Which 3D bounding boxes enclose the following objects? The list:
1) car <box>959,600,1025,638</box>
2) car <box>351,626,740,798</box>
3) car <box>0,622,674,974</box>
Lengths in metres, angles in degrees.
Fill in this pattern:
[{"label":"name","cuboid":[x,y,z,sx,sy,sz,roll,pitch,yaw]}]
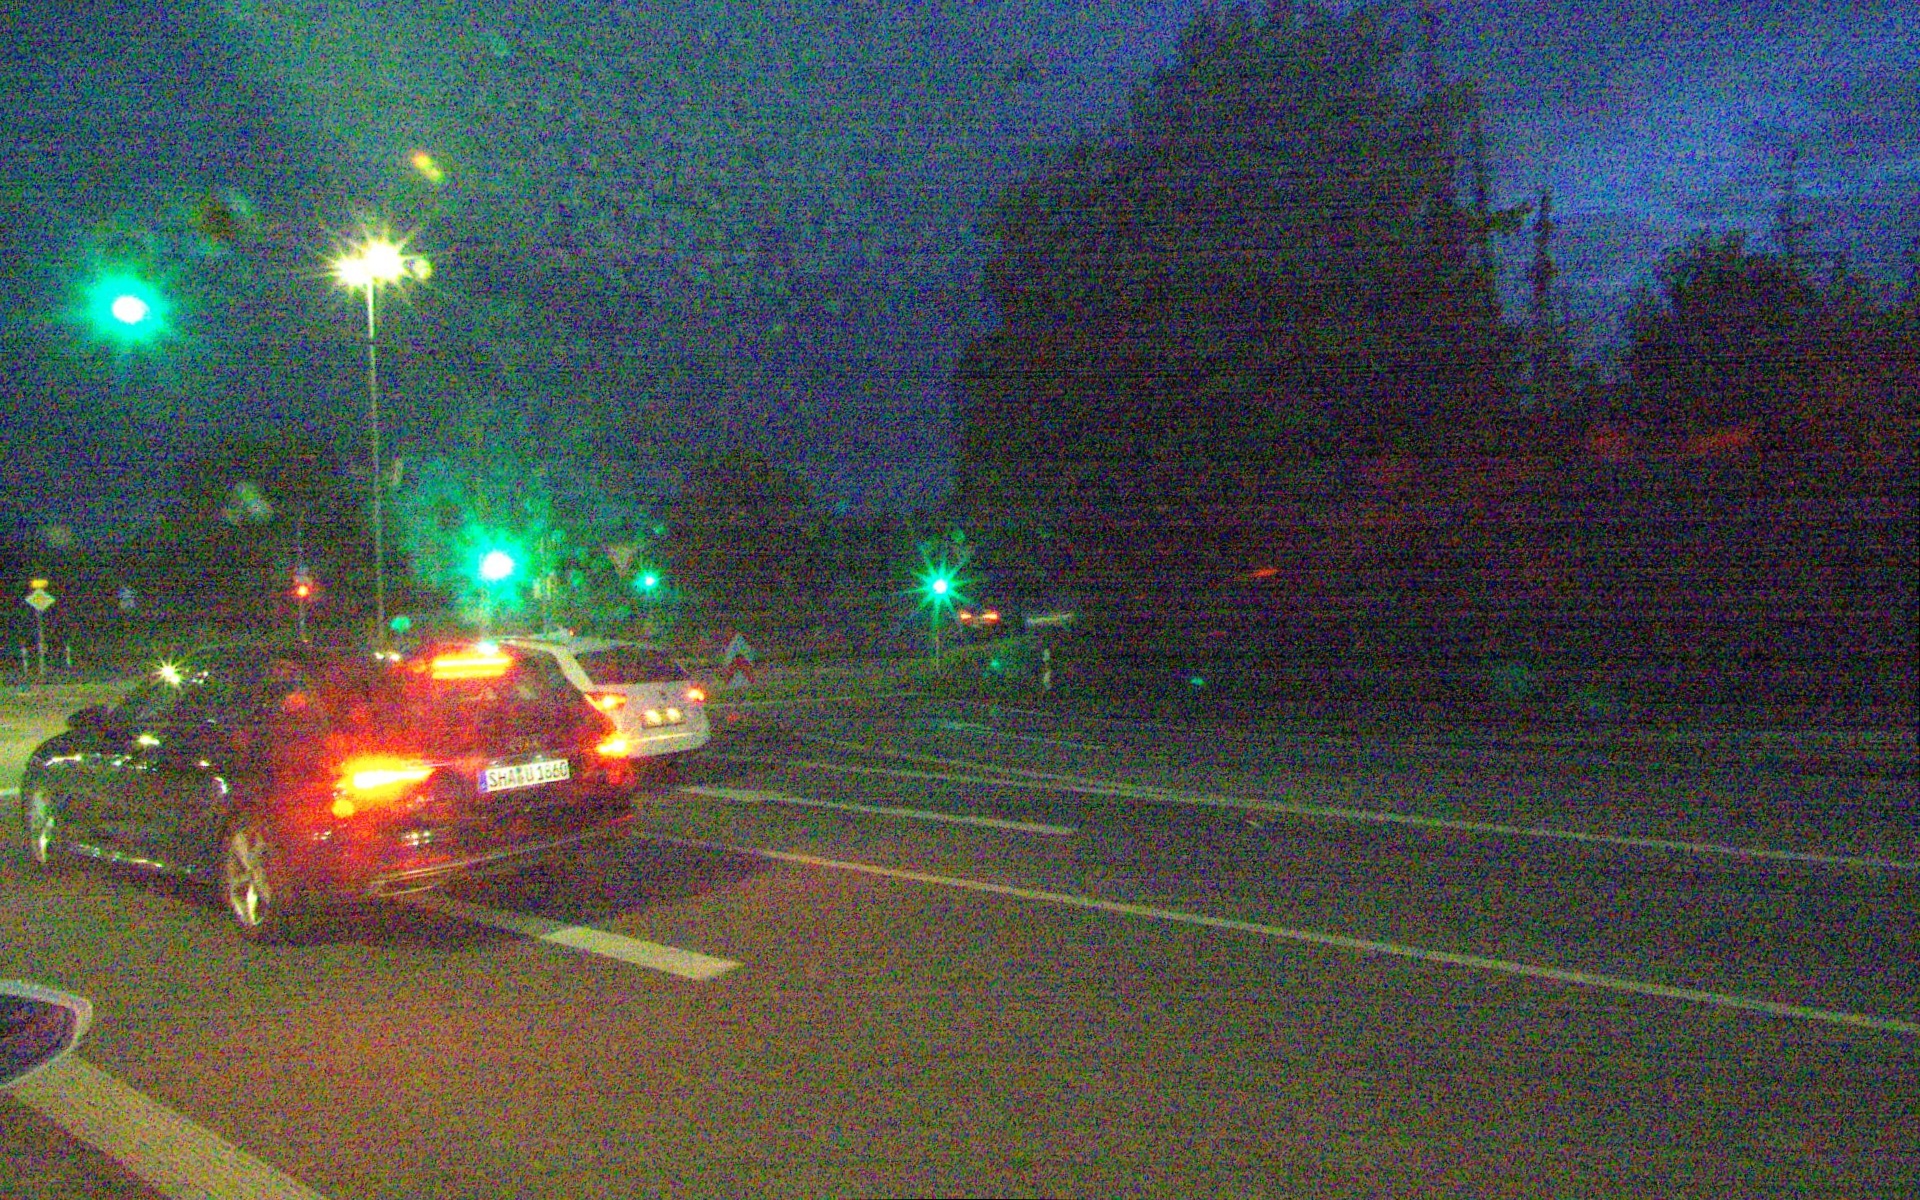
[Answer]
[{"label":"car","cuboid":[1.570,0.890,47.824,1.712,1.594,4.045,-1,1,24]},{"label":"car","cuboid":[-4.379,1.034,10.429,4.057,1.462,1.617,-1,-1,30]},{"label":"car","cuboid":[-3.981,0.906,6.134,4.469,1.461,1.787,-2,-2,32]}]
